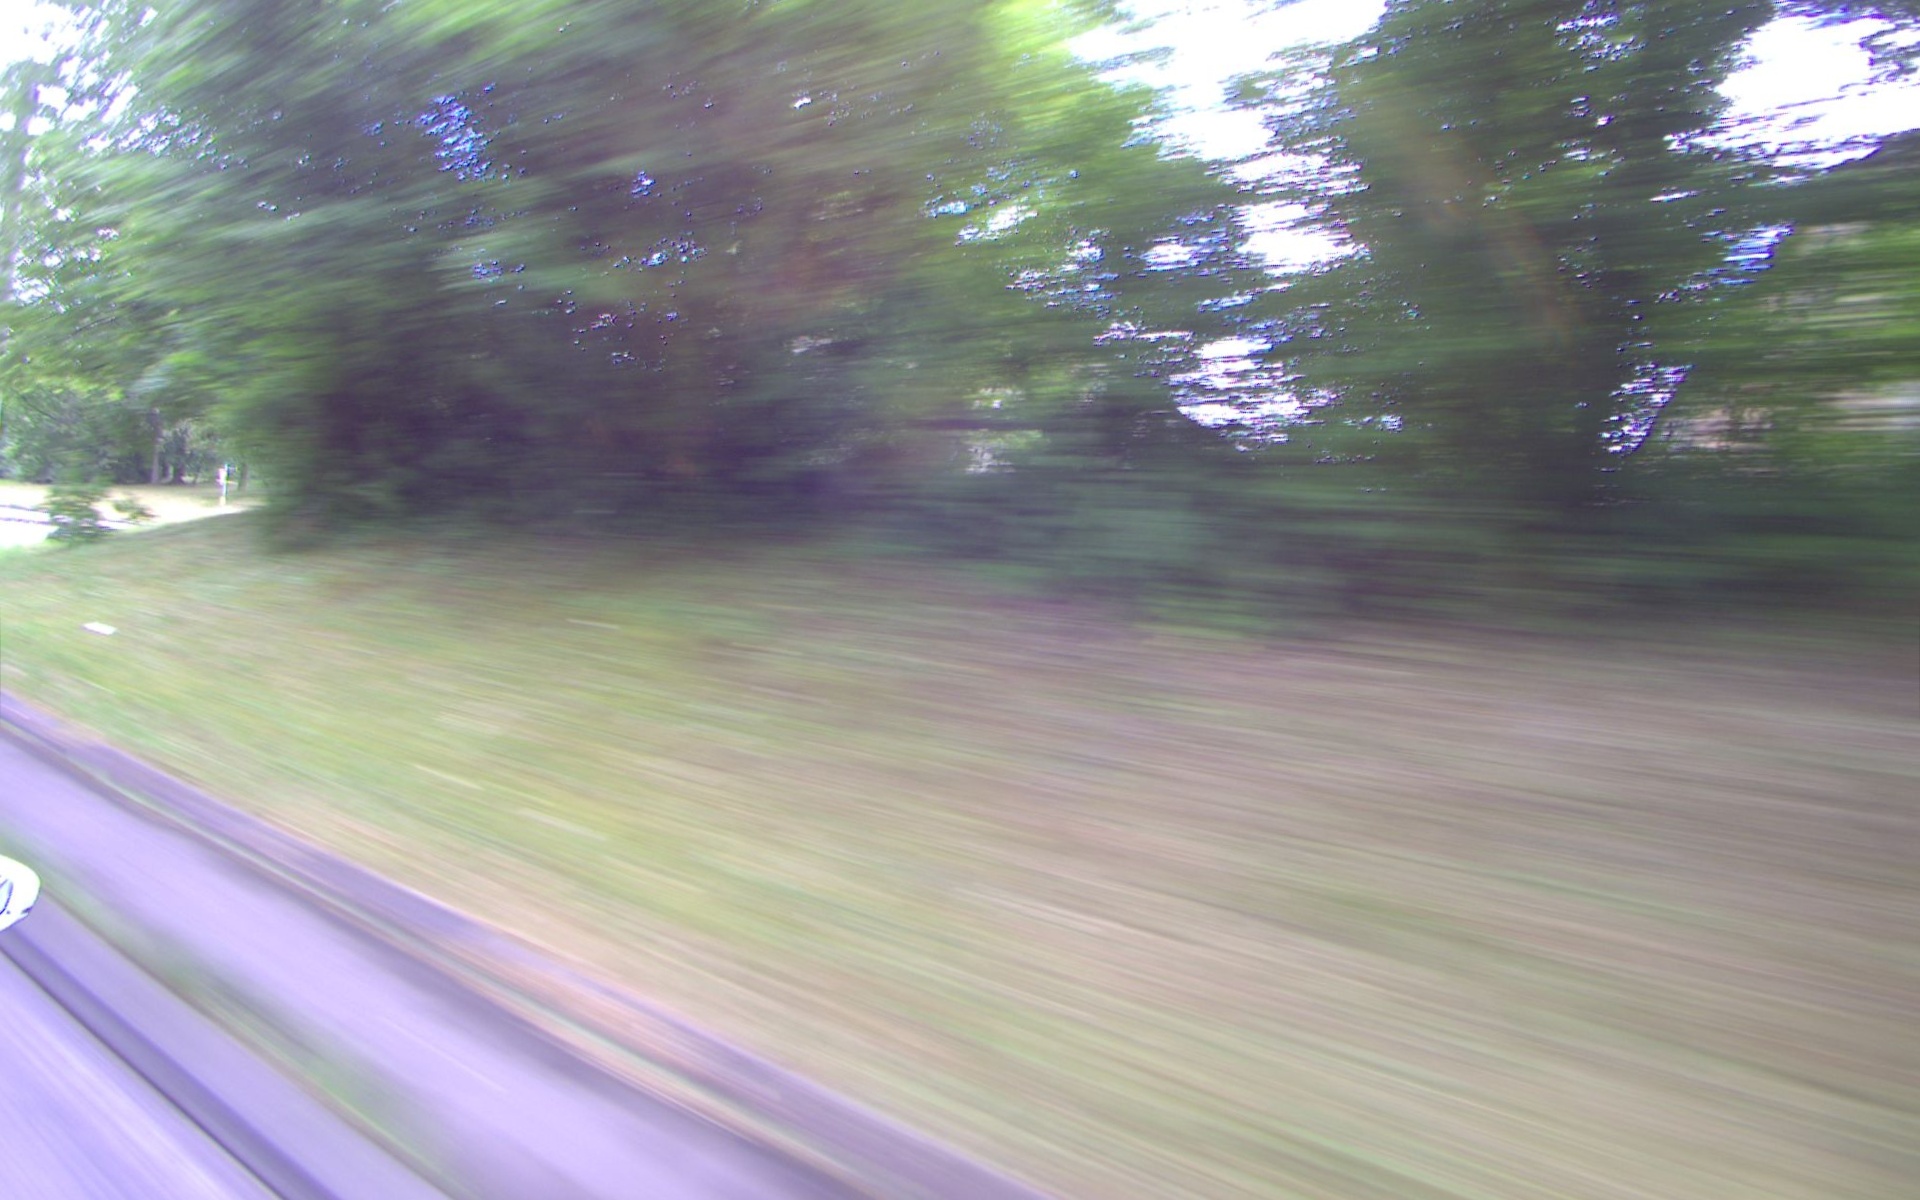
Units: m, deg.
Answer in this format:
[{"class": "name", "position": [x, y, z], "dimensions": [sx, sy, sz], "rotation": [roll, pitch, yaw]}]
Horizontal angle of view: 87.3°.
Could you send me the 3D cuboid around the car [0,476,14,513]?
[{"class": "car", "position": [-41.806, -4.666, 41.926], "dimensions": [3.294, 1.513, 1.647], "rotation": [8, 0, -43]}]
